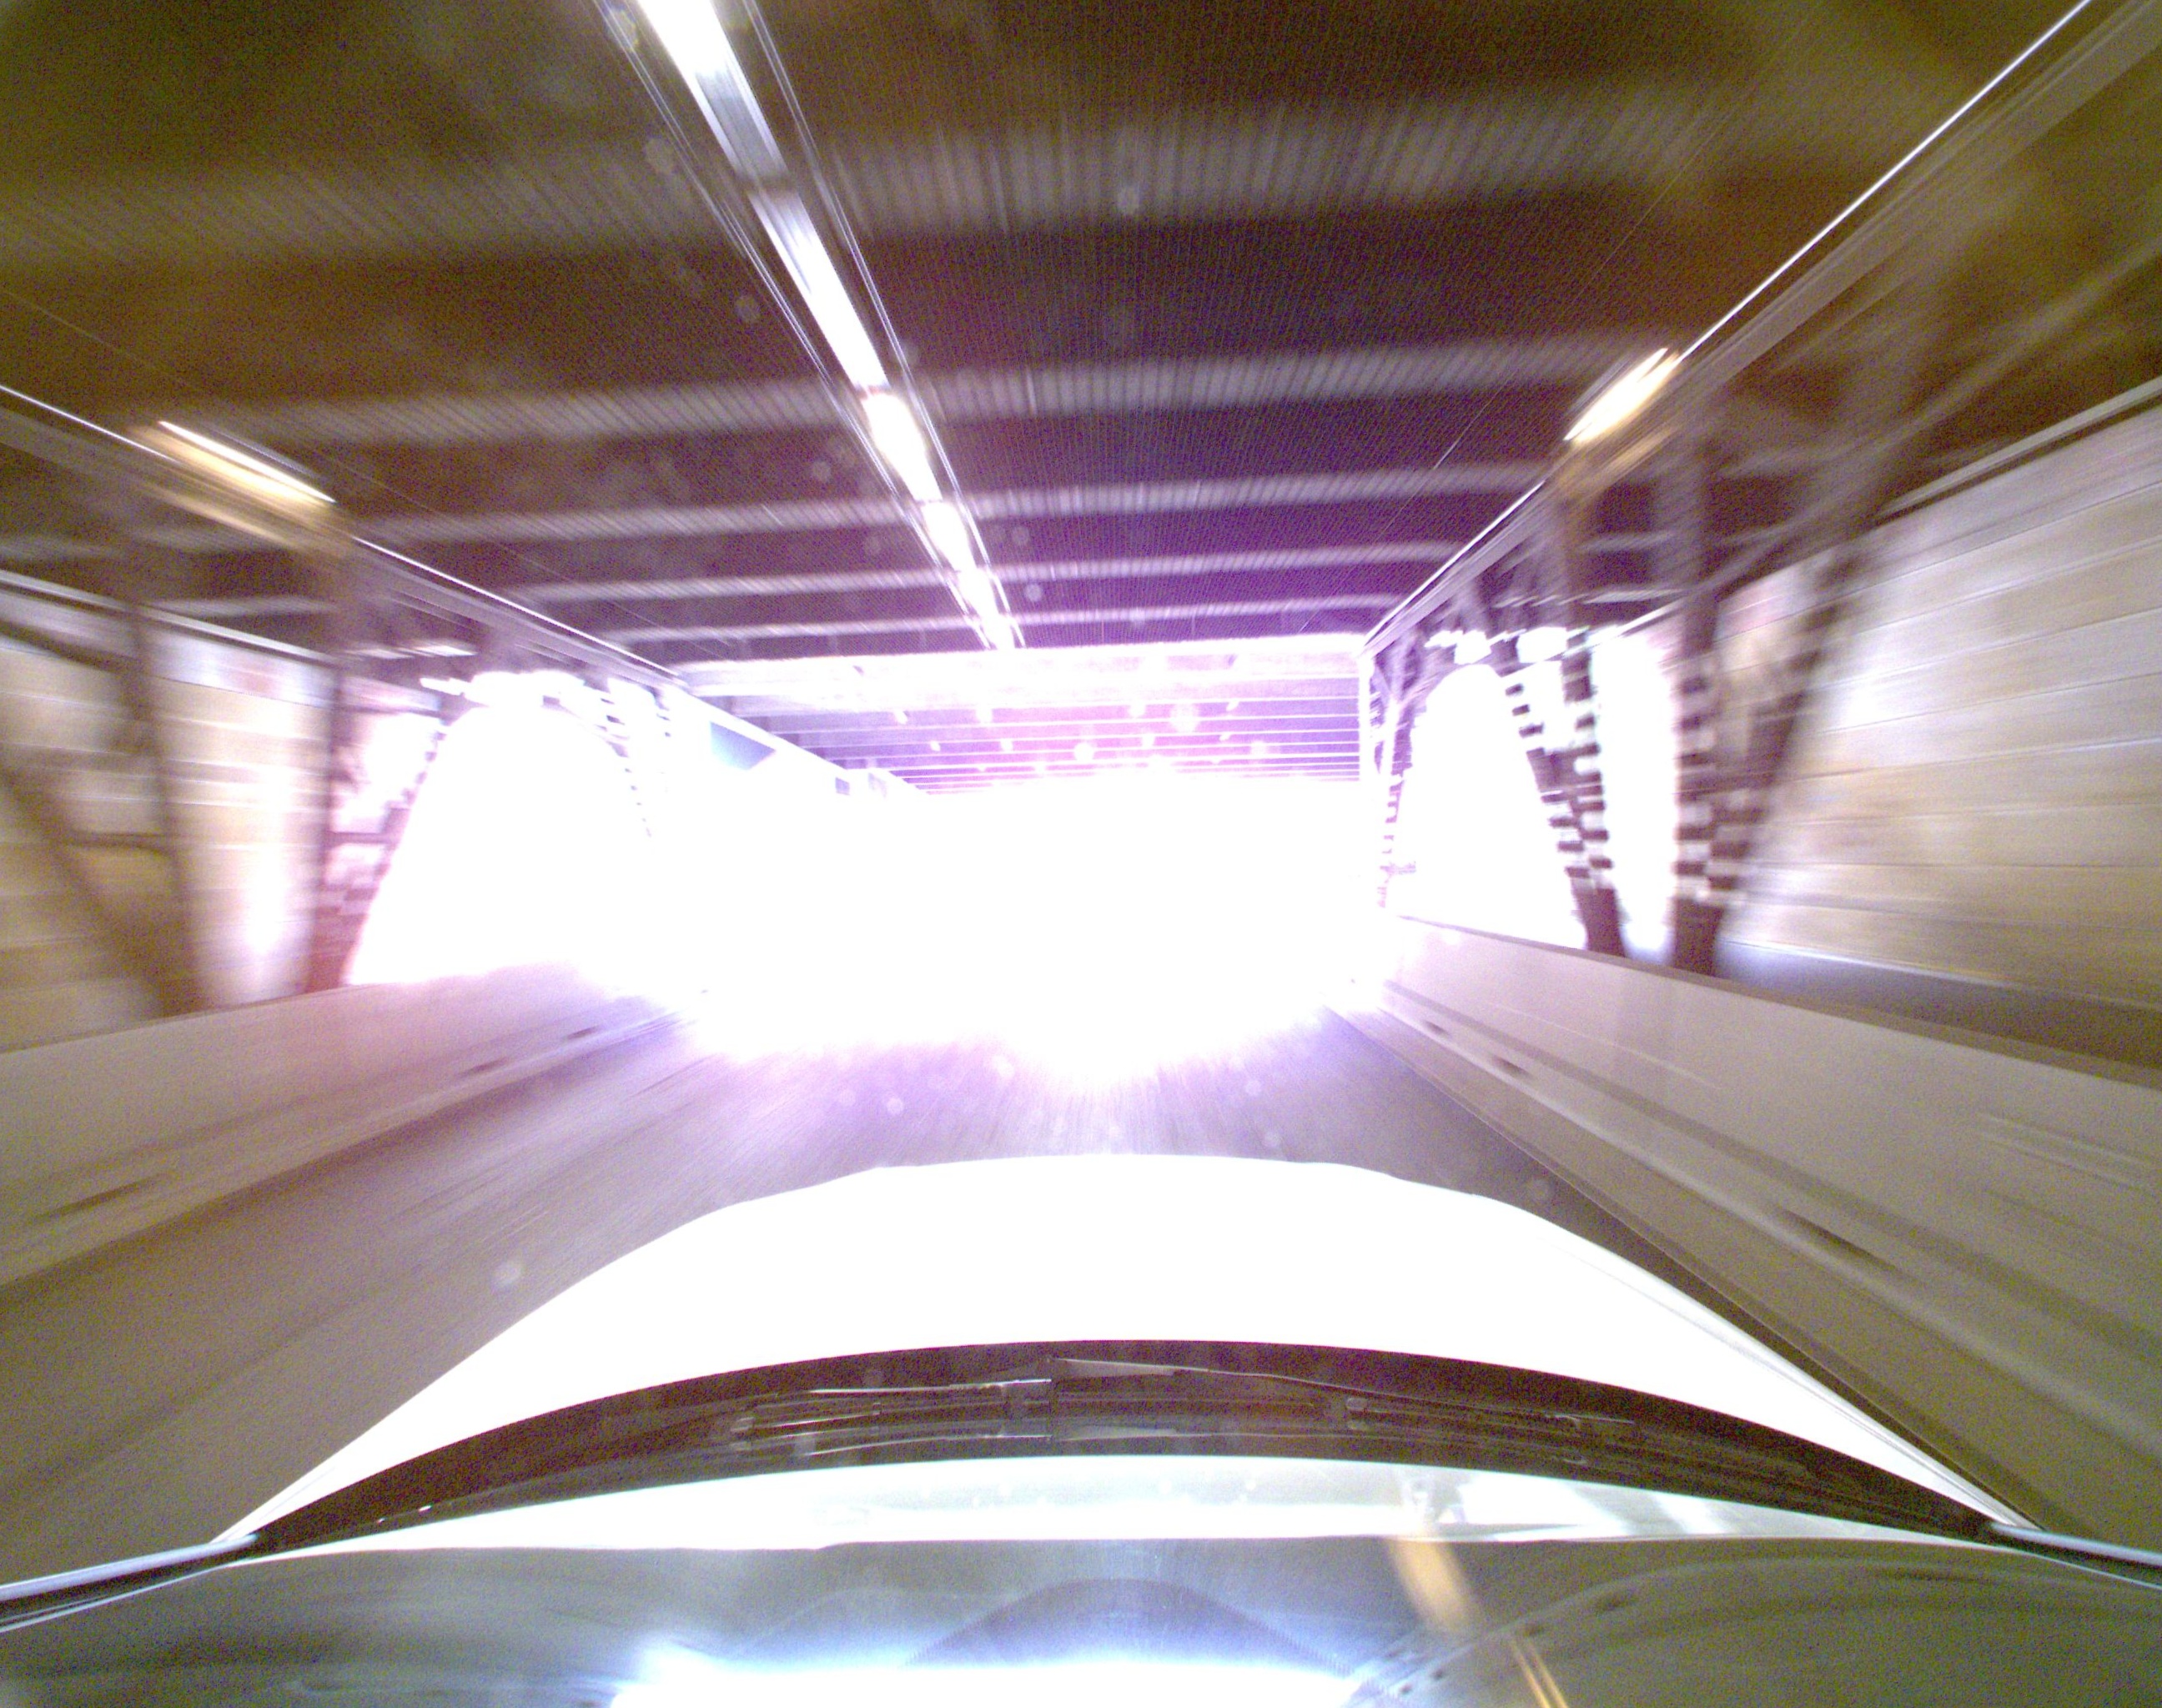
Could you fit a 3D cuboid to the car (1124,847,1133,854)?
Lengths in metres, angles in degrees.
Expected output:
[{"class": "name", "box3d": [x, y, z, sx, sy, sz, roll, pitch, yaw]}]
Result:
[{"class": "car", "box3d": [9.271, -0.649, 158.972, 1.703, 1.354, 4.001, -1, 0, 1]}]

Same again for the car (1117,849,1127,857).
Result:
[{"class": "car", "box3d": [7.090, -0.251, 141.176, 1.703, 1.354, 4.001, -1, 0, 1]}]

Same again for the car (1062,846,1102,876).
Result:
[{"class": "car", "box3d": [0.119, 0.400, 49.558, 1.815, 1.653, 4.224, -3, 0, 8]}]

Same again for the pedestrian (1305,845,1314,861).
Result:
[{"class": "pedestrian", "box3d": [23.923, -0.127, 85.336, 0.698, 1.674, 0.613, -1, 0, -19]}]

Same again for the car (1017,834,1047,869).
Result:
[{"class": "car", "box3d": [-3.756, -0.196, 63.303, 1.961, 2.607, 5.931, 0, 0, 0]}]

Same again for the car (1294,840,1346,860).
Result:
[{"class": "car", "box3d": [22.696, -0.390, 77.524, 4.643, 1.688, 2.008, -2, 0, 14]}]

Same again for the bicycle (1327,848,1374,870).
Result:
[{"class": "bicycle", "box3d": [12.461, 0.232, 37.694, 1.938, 0.904, 0.507, -3, -1, 0]}]

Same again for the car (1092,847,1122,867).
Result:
[{"class": "car", "box3d": [2.045, 0.217, 62.401, 1.661, 1.447, 3.863, -3, 0, 10]}]

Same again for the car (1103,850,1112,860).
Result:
[{"class": "car", "box3d": [4.926, 0.204, 151.058, 1.703, 1.712, 4.001, -1, 0, 1]}]

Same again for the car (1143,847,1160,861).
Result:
[{"class": "car", "box3d": [8.174, -0.039, 94.411, 1.816, 1.519, 4.237, -2, 0, 4]}]
